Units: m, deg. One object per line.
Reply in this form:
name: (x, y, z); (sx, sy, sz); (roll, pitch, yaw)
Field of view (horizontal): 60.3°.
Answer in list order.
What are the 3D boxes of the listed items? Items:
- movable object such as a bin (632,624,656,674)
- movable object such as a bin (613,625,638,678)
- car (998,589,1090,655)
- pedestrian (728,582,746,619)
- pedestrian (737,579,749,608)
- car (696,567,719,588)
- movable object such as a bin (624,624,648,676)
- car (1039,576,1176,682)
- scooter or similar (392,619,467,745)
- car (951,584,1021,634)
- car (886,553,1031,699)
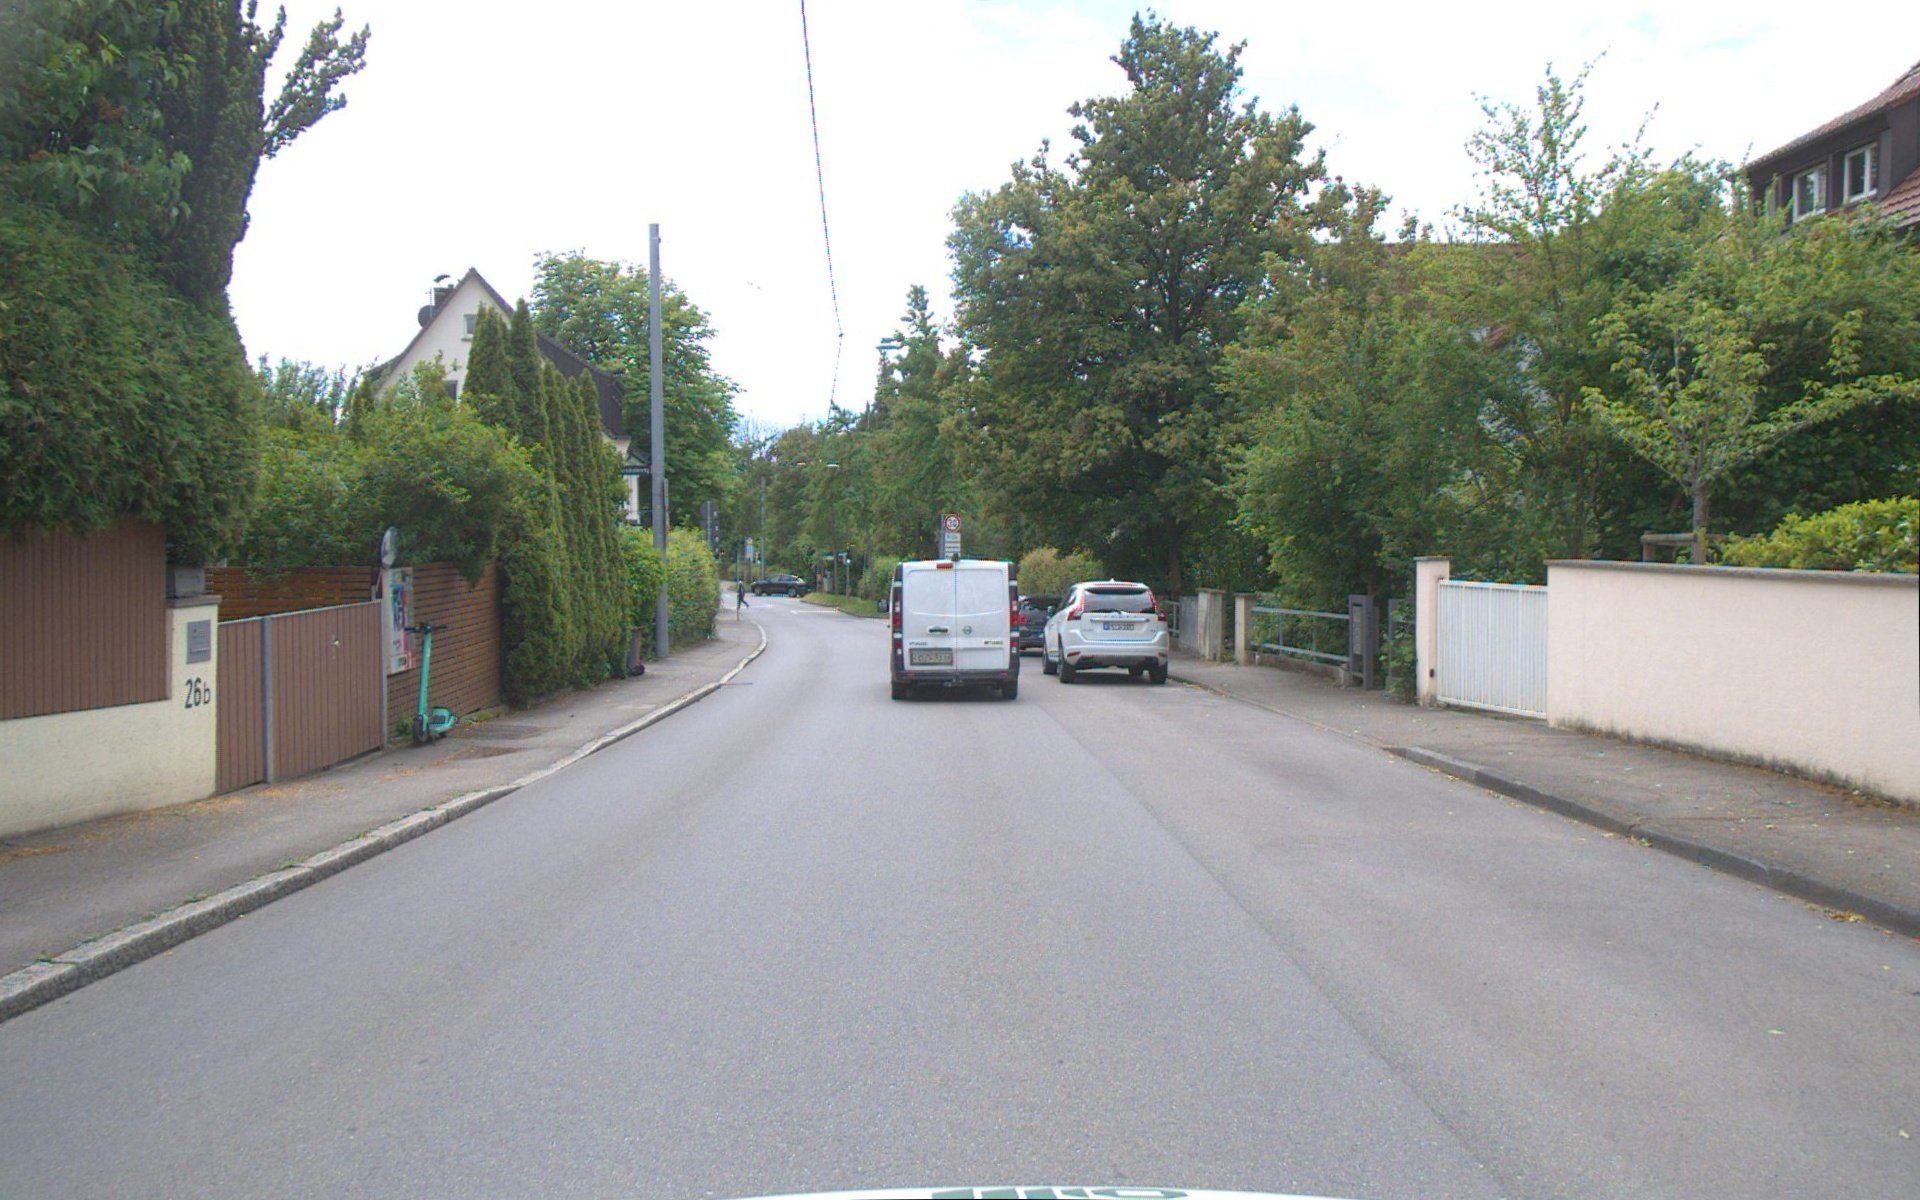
movable object such as a bin: (-5.825, 0.904, 30.516); (0.329, 0.909, 0.476); (1, 0, 0)
movable object such as a bin: (-5.866, 0.900, 29.039); (0.329, 0.909, 0.476); (1, 0, 0)
car: (1.985, 0.489, 40.038); (1.676, 1.513, 3.786); (0, 0, -6)
pedestrian: (-9.877, 0.017, 73.284); (0.692, 1.638, 0.576); (-1, 0, -2)
pedestrian: (-12.265, -0.365, 93.565); (0.684, 1.644, 0.714); (0, 2, -7)
car: (-21.372, -1.918, 140.134); (1.790, 1.758, 3.995); (0, 1, -6)
movable object such as a bin: (-5.842, 0.896, 29.846); (0.329, 0.909, 0.476); (1, 0, 0)
car: (2.512, 0.466, 29.138); (1.828, 1.714, 4.348); (0, 0, -3)
scooter or similar: (-5.334, 0.804, 16.678); (0.383, 1.191, 1.270); (0, 0, -2)
car: (0.771, 0.269, 51.324); (1.677, 1.437, 3.785); (2, 0, -6)
car: (-0.116, 0.317, 24.986); (1.892, 1.998, 4.398); (0, 1, -4)
